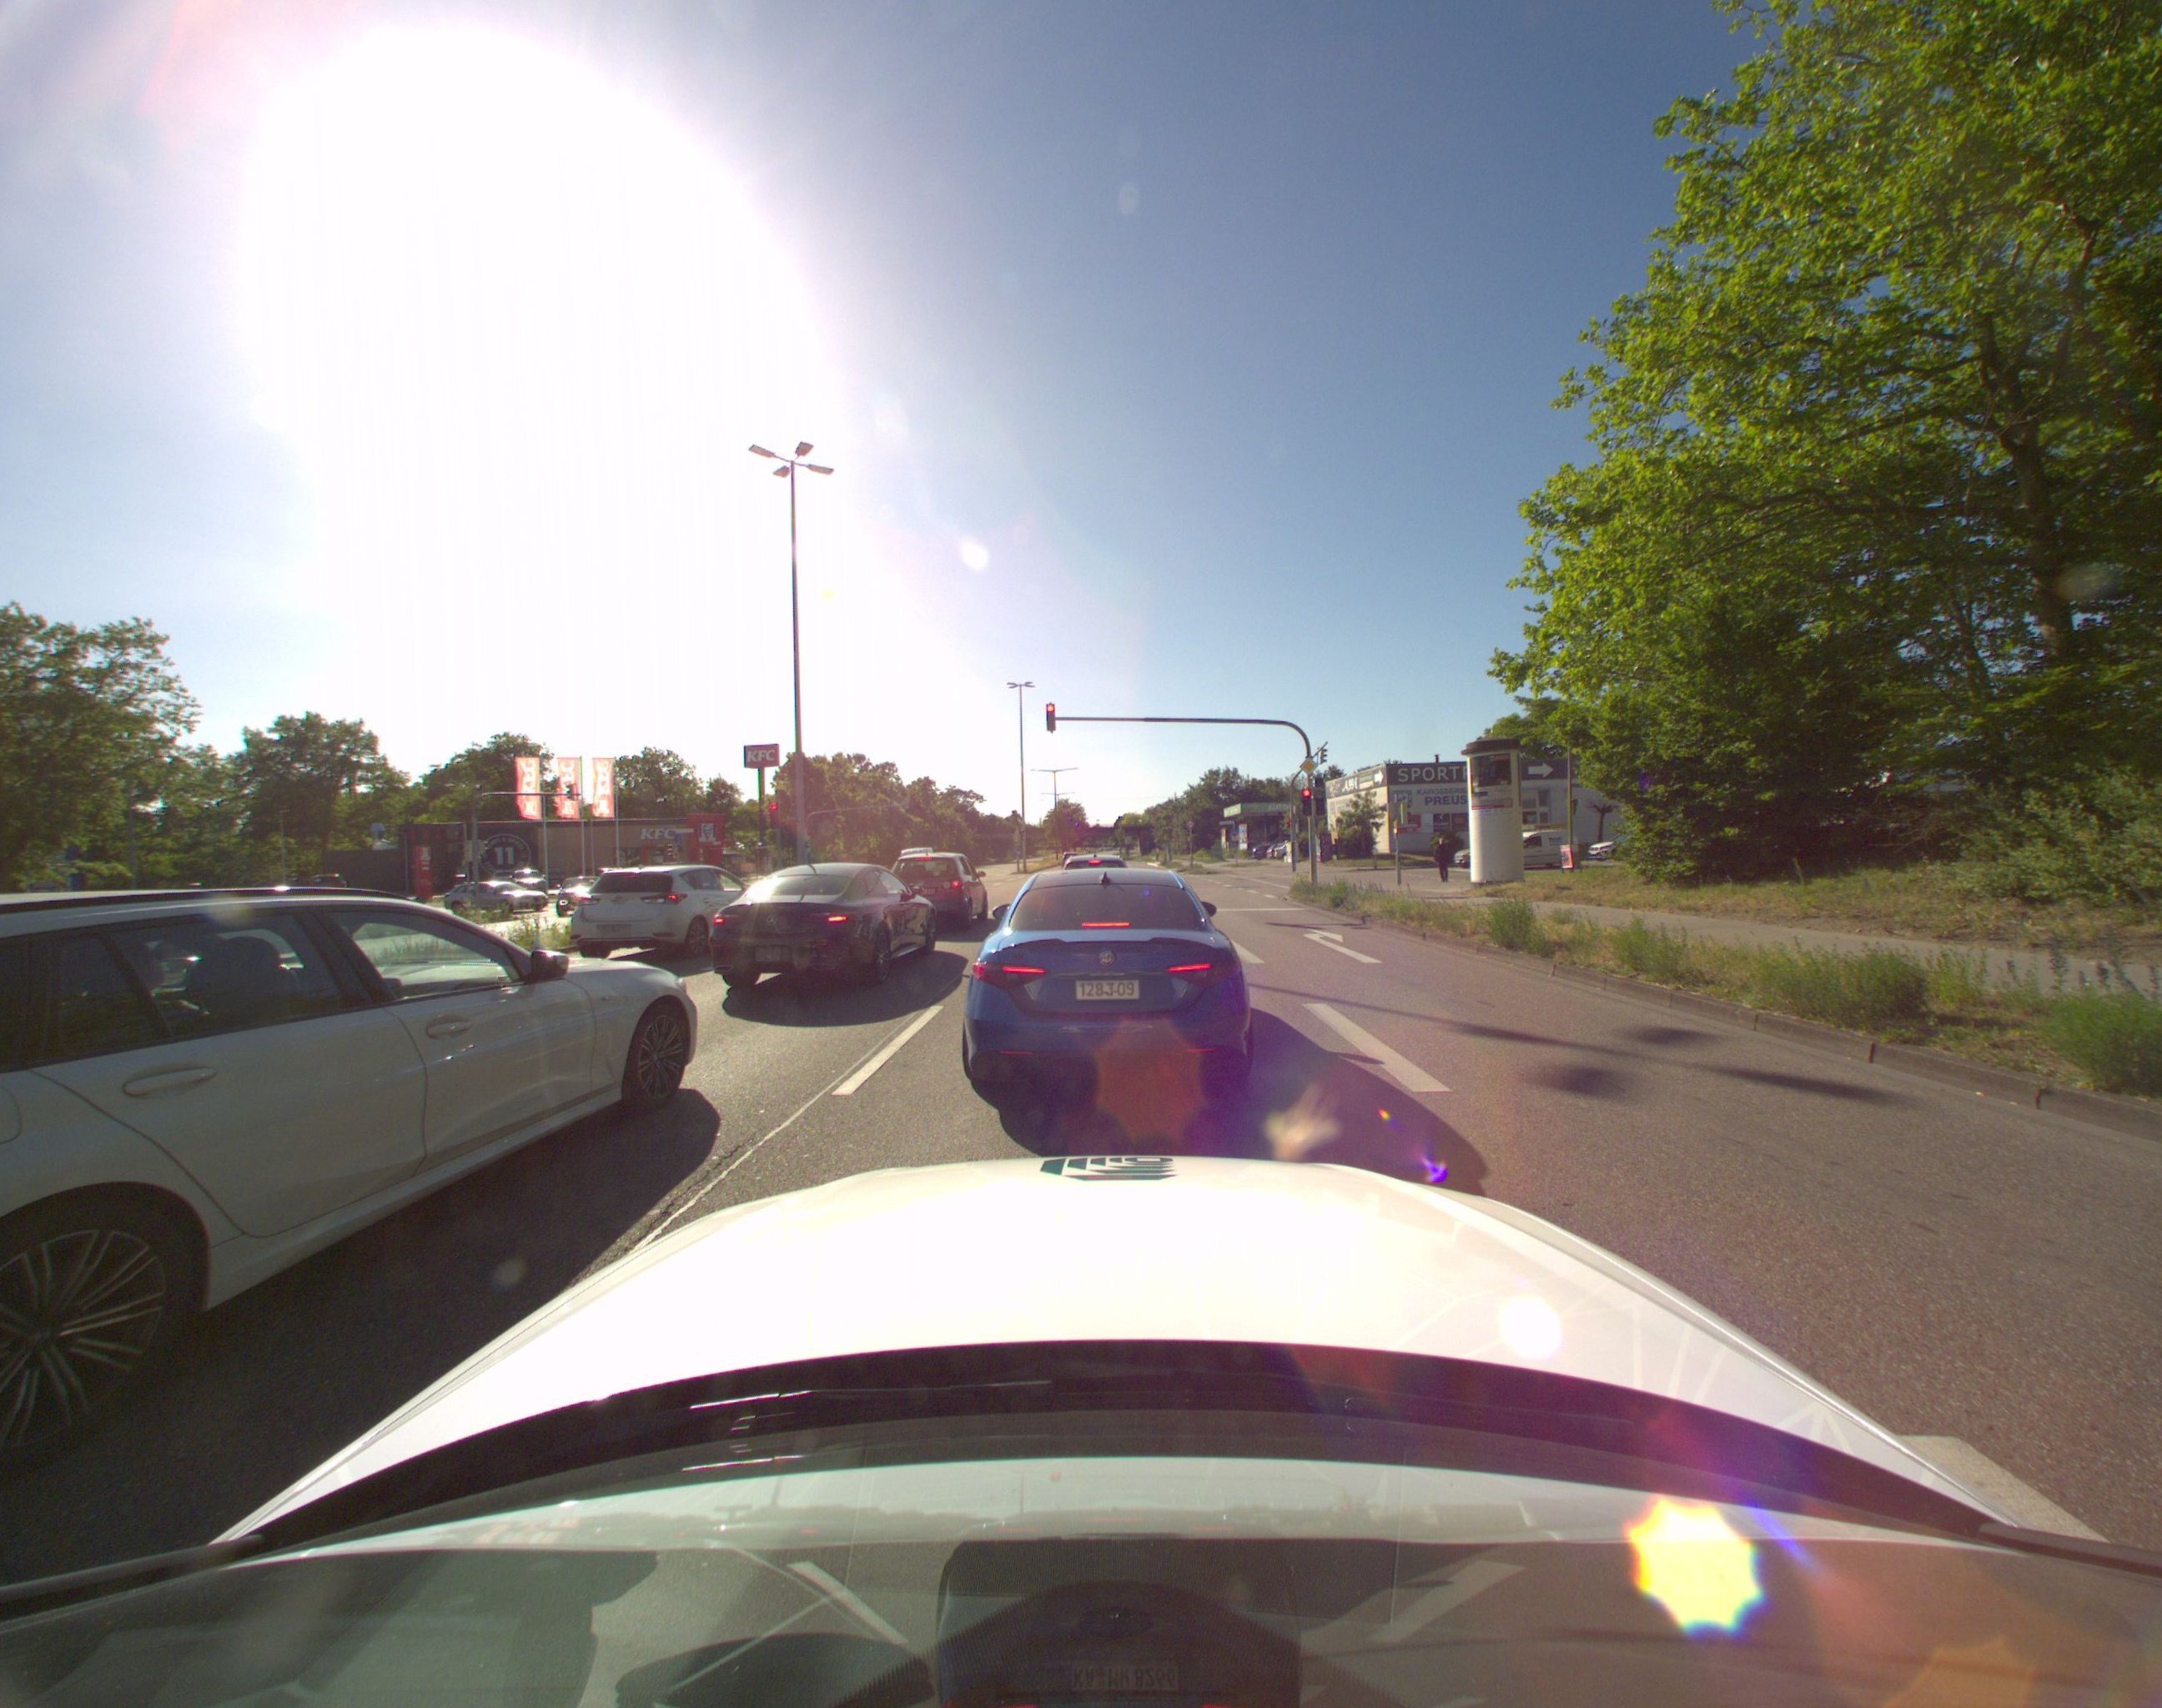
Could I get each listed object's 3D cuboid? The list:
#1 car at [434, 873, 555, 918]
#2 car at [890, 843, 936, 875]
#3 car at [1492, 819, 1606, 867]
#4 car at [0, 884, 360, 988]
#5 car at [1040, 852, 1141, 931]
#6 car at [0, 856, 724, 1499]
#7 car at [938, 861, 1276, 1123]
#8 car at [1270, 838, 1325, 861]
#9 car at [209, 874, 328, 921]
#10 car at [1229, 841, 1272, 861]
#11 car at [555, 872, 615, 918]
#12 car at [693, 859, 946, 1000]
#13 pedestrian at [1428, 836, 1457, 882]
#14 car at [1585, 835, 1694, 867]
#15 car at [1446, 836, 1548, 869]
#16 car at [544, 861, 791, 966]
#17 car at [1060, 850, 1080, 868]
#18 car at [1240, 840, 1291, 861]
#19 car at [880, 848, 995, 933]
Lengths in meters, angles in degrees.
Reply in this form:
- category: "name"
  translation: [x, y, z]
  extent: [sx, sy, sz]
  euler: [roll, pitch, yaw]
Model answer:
- category: "car"
  translation: [-26.879, 1.890, 37.403]
  extent: [4.251, 1.845, 2.005]
  euler: [-1, 0, 8]
- category: "car"
  translation: [-13.872, 0.384, 67.706]
  extent: [2.422, 2.427, 5.833]
  euler: [-1, 0, 2]
- category: "car"
  translation: [22.638, -0.520, 39.477]
  extent: [4.393, 2.145, 1.999]
  euler: [-1, 0, -2]
- category: "car"
  translation: [-16.595, 1.399, 15.444]
  extent: [1.854, 1.429, 4.728]
  euler: [-1, 0, -5]
- category: "car"
  translation: [0.237, 0.702, 17.210]
  extent: [1.859, 1.450, 3.933]
  euler: [-1, 0, 2]
- category: "car"
  translation: [-3.425, 0.798, 3.374]
  extent: [1.762, 1.509, 4.463]
  euler: [-1, 0, 2]
- category: "car"
  translation: [0.206, 0.788, 6.511]
  extent: [1.859, 1.385, 3.933]
  euler: [-1, 0, 2]
- category: "car"
  translation: [17.518, -0.358, 65.878]
  extent: [3.993, 1.706, 1.687]
  euler: [-1, 0, -15]
- category: "car"
  translation: [-38.447, 2.050, 38.569]
  extent: [3.962, 2.013, 2.006]
  euler: [-1, 0, 10]
- category: "car"
  translation: [15.391, -0.253, 73.981]
  extent: [3.489, 1.706, 1.687]
  euler: [-1, 0, -14]
- category: "car"
  translation: [-19.505, 1.538, 32.122]
  extent: [1.869, 1.544, 4.689]
  euler: [-1, 0, -31]
- category: "car"
  translation: [-3.138, 0.813, 10.846]
  extent: [1.762, 1.414, 4.463]
  euler: [-1, 0, 2]
- category: "pedestrian"
  translation: [14.098, 0.186, 31.758]
  extent: [0.818, 1.721, 0.856]
  euler: [-2, 0, 9]
- category: "car"
  translation: [29.295, -0.169, 42.789]
  extent: [4.393, 1.553, 1.999]
  euler: [-1, 0, -2]
- category: "car"
  translation: [21.960, -0.079, 43.076]
  extent: [4.393, 1.553, 1.999]
  euler: [-1, 0, -2]
- category: "car"
  translation: [-6.796, 0.887, 14.035]
  extent: [1.850, 1.429, 4.405]
  euler: [-1, 0, 2]
- category: "car"
  translation: [-1.024, 0.429, 77.023]
  extent: [1.813, 1.595, 4.050]
  euler: [-1, 0, 0]
- category: "car"
  translation: [16.048, -0.289, 70.772]
  extent: [3.997, 1.706, 1.685]
  euler: [-1, 0, -18]
- category: "car"
  translation: [-2.997, 0.699, 17.757]
  extent: [1.642, 1.598, 3.933]
  euler: [-1, 0, 2]
